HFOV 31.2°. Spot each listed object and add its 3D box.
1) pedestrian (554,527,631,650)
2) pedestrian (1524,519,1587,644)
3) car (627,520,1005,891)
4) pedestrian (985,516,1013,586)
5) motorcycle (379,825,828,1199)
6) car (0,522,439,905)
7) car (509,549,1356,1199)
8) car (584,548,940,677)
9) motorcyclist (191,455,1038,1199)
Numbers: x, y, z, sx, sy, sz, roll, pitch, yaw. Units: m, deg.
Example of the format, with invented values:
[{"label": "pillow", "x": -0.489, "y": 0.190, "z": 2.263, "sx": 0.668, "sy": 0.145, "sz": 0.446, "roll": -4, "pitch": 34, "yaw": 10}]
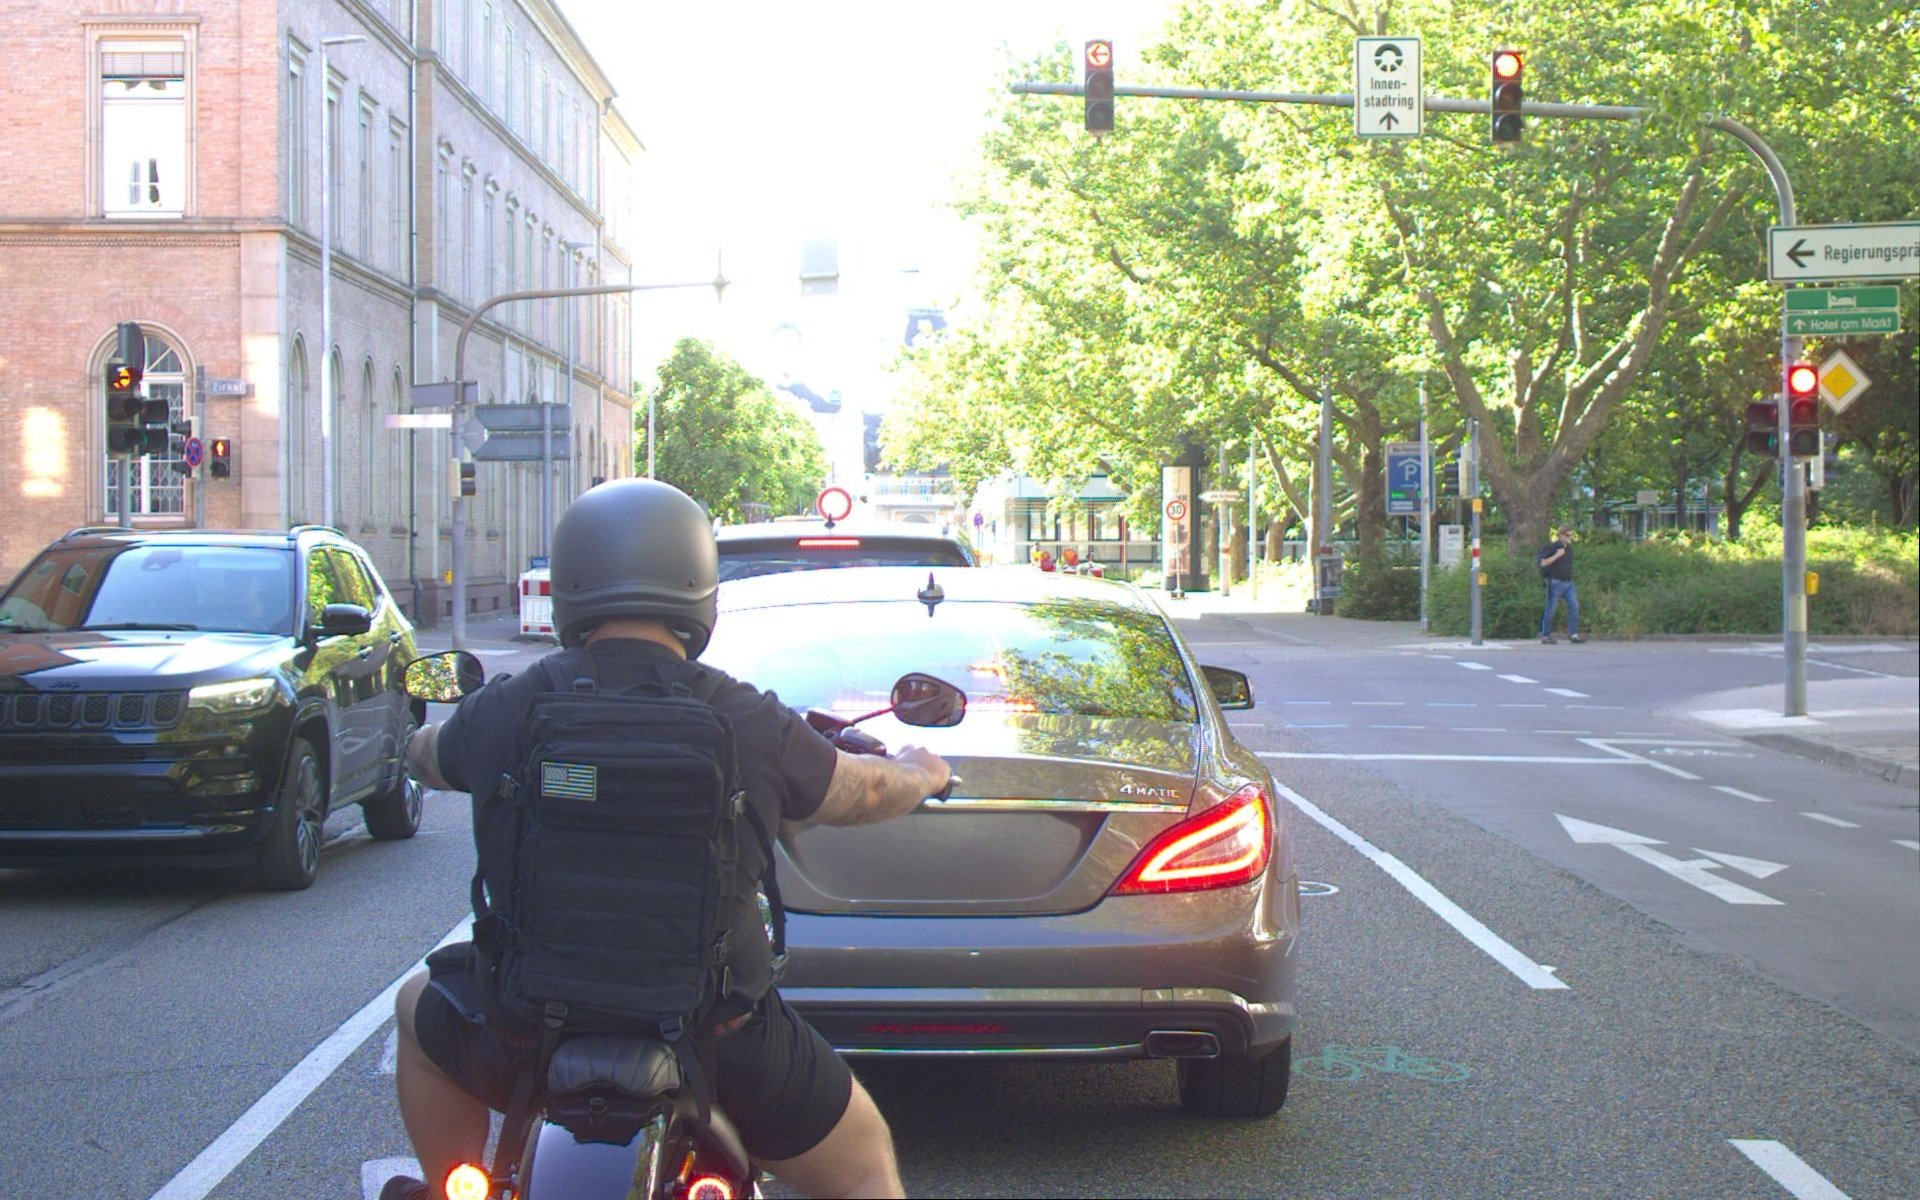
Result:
[{"label": "pedestrian", "x": -5.493, "y": -0.175, "z": 51.419, "sx": 1.001, "sy": 1.820, "sz": 1.076, "roll": 1, "pitch": 0, "yaw": 1}, {"label": "pedestrian", "x": 9.215, "y": -0.291, "z": 53.192, "sx": 0.923, "sy": 1.903, "sz": 0.751, "roll": 1, "pitch": 0, "yaw": 11}, {"label": "car", "x": -0.638, "y": 0.416, "z": 16.744, "sx": 1.621, "sy": 1.588, "sz": 4.000, "roll": 0, "pitch": 1, "yaw": -1}, {"label": "pedestrian", "x": 1.151, "y": -1.442, "z": 100.879, "sx": 0.764, "sy": 2.044, "sz": 0.712, "roll": 1, "pitch": 0, "yaw": -1}, {"label": "motorcycle", "x": -0.498, "y": 0.931, "z": 5.394, "sx": 0.513, "sy": 0.999, "sz": 2.013, "roll": 1, "pitch": 1, "yaw": -1}, {"label": "car", "x": -3.728, "y": 0.444, "z": 16.375, "sx": 1.850, "sy": 1.565, "sz": 4.386, "roll": 1, "pitch": 1, "yaw": -1}, {"label": "car", "x": -0.085, "y": 0.600, "z": 9.629, "sx": 1.882, "sy": 1.444, "sz": 3.820, "roll": 1, "pitch": 1, "yaw": -1}, {"label": "car", "x": -2.503, "y": 0.159, "z": 43.774, "sx": 4.122, "sy": 1.569, "sz": 1.858, "roll": 0, "pitch": 1, "yaw": -32}, {"label": "motorcyclist", "x": -0.485, "y": 0.600, "z": 5.368, "sx": 1.149, "sy": 1.593, "sz": 1.288, "roll": 1, "pitch": 0, "yaw": -1}]
